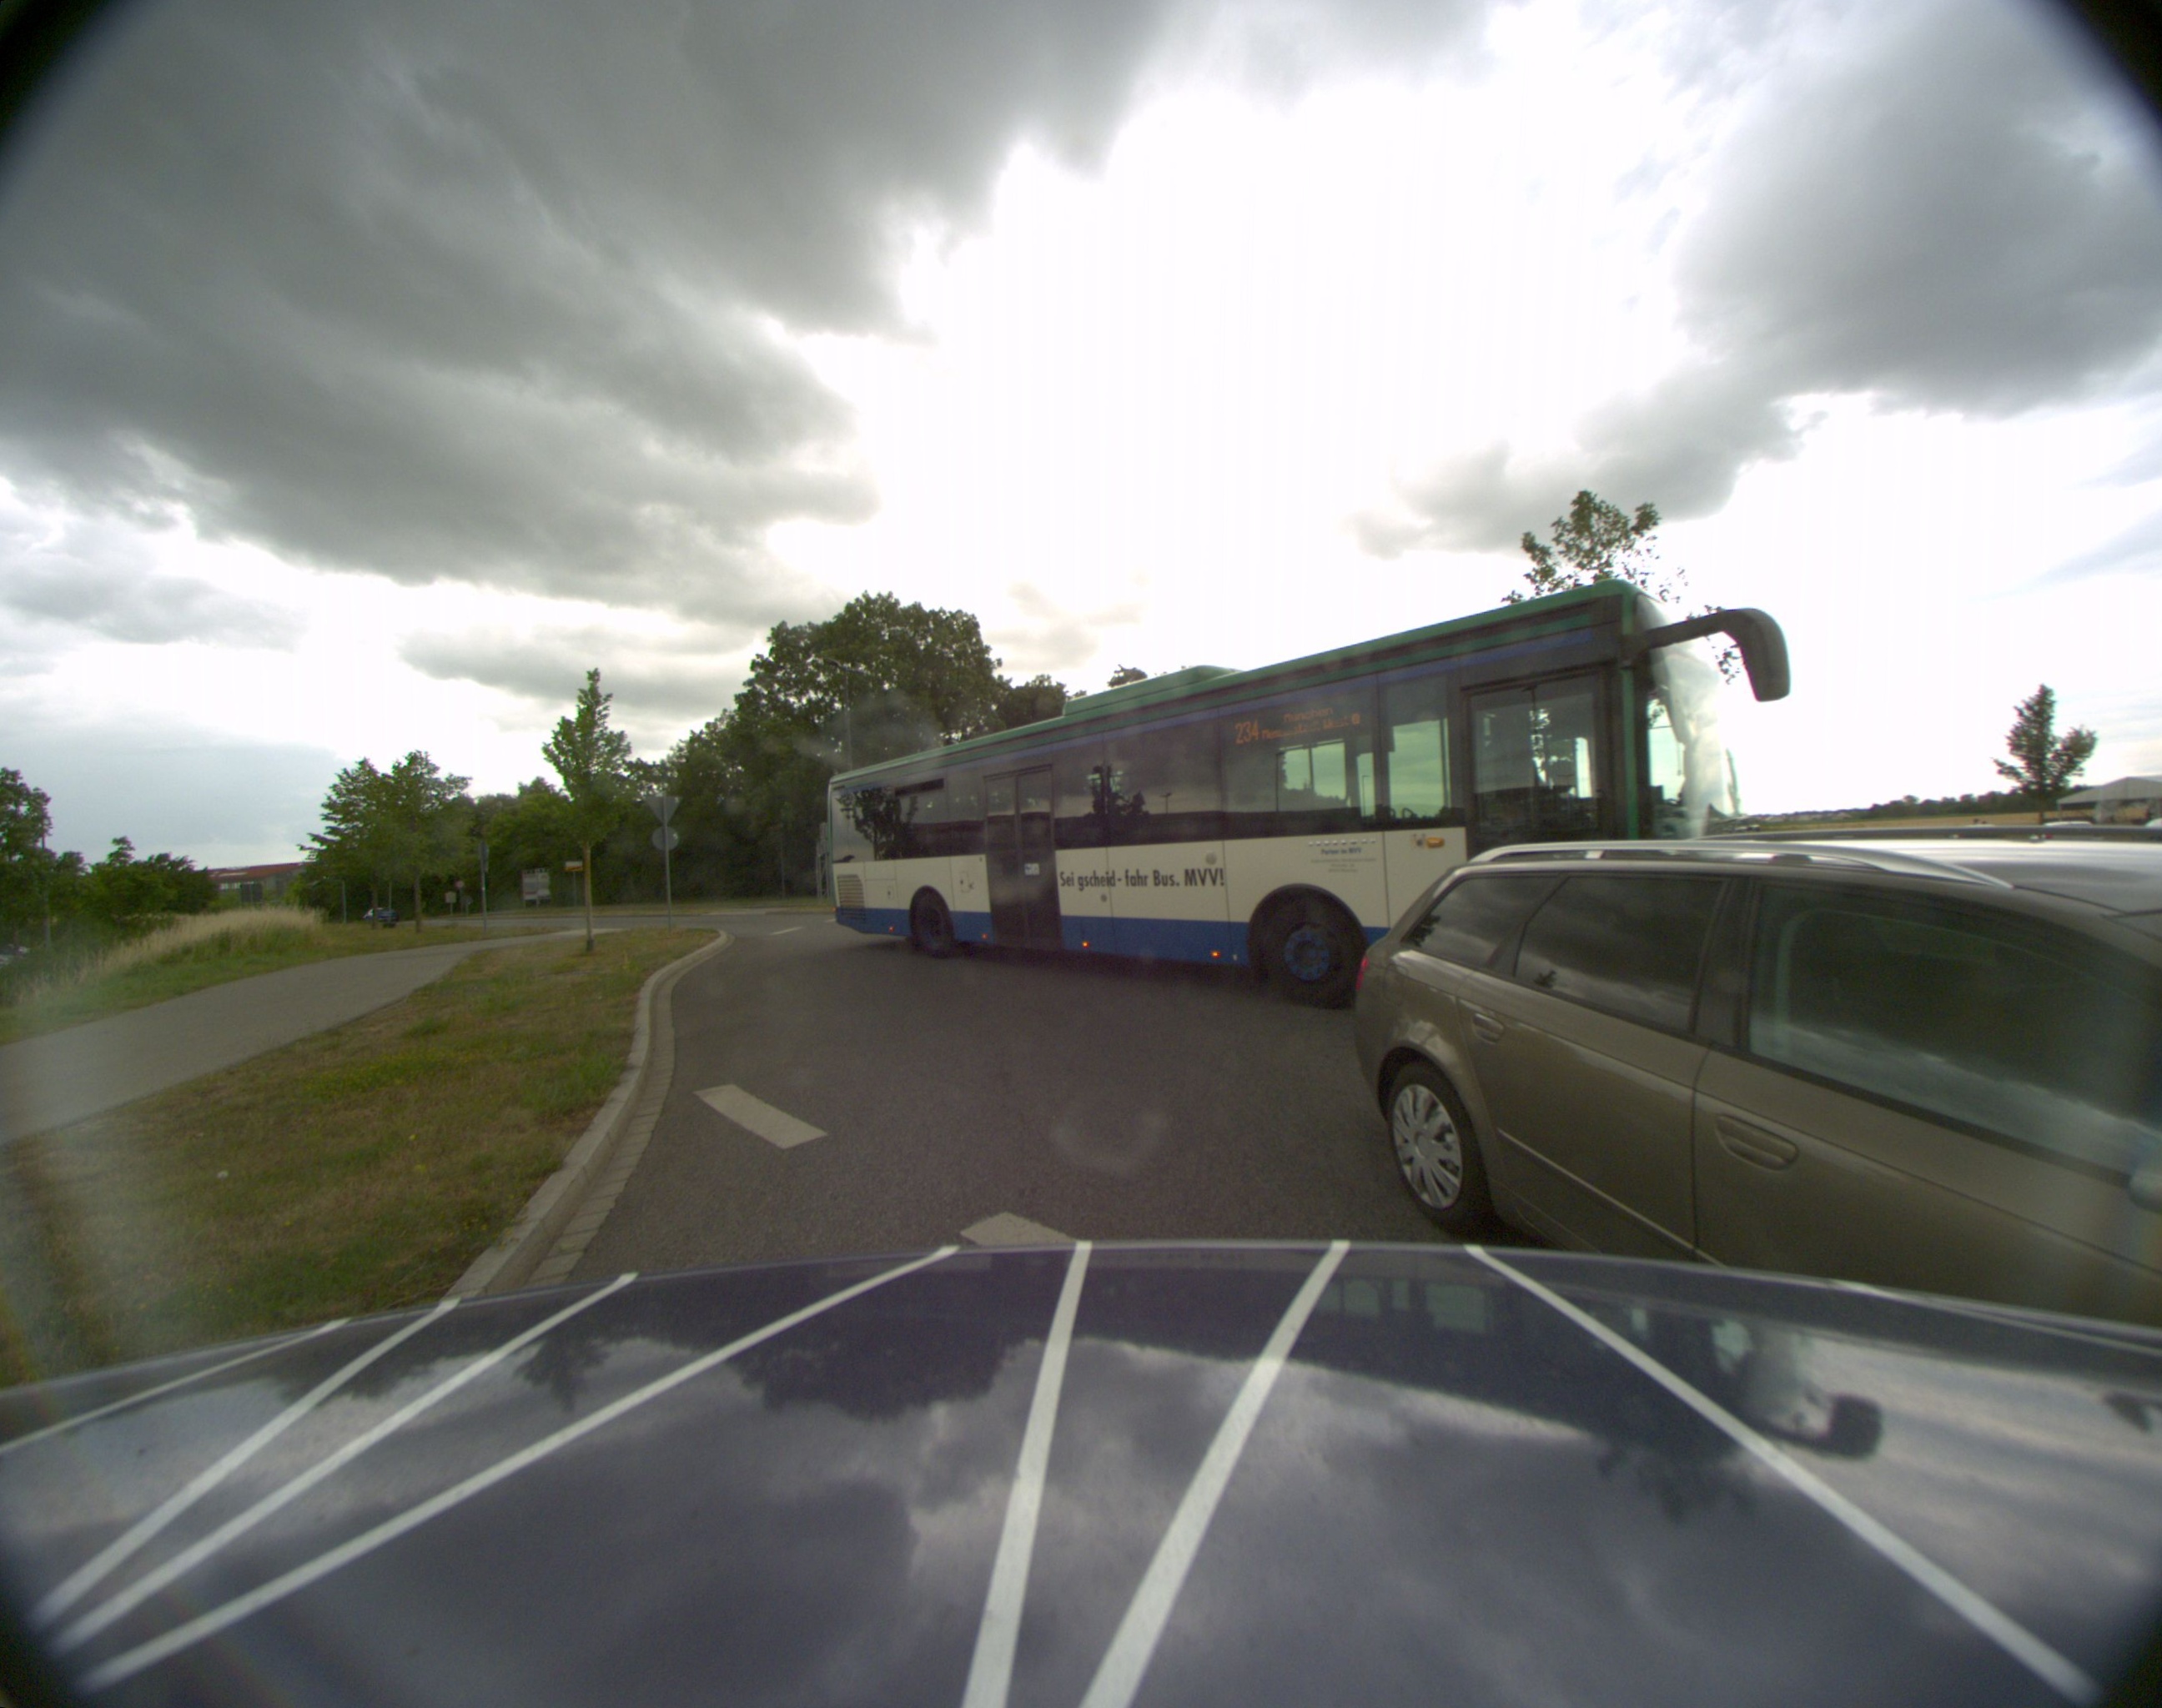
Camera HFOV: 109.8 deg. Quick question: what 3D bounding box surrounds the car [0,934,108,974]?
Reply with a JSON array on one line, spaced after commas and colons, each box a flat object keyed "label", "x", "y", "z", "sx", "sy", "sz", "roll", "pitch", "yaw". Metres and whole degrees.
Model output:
[{"label": "car", "x": -49.367, "y": 4.743, "z": 35.885, "sx": 3.896, "sy": 1.455, "sz": 1.693, "roll": -3, "pitch": 0, "yaw": -42}]

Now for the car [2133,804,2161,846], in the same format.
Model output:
[{"label": "car", "x": 46.911, "y": -1.316, "z": 32.741, "sx": 4.006, "sy": 1.544, "sz": 1.712, "roll": -5, "pitch": 0, "yaw": -36}]

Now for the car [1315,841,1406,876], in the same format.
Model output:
[{"label": "car", "x": 14.504, "y": 0.275, "z": 39.696, "sx": 1.716, "sy": 1.616, "sz": 4.442, "roll": -3, "pitch": 0, "yaw": -27}]

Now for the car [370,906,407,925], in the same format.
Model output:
[{"label": "car", "x": -63.154, "y": 5.629, "z": 69.295, "sx": 4.072, "sy": 1.422, "sz": 1.766, "roll": -6, "pitch": 0, "yaw": 38}]

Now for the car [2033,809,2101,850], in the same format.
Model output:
[{"label": "car", "x": 45.138, "y": -1.132, "z": 34.758, "sx": 4.006, "sy": 1.544, "sz": 1.712, "roll": -5, "pitch": 0, "yaw": -36}]

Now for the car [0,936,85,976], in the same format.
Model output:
[{"label": "car", "x": -46.707, "y": 4.525, "z": 32.976, "sx": 3.896, "sy": 1.455, "sz": 1.693, "roll": -3, "pitch": 0, "yaw": -42}]

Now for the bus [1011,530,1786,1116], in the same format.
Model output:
[{"label": "bus", "x": 2.345, "y": -0.171, "z": 7.477, "sx": 2.530, "sy": 3.239, "sz": 6.530, "roll": -3, "pitch": 2, "yaw": -42}]

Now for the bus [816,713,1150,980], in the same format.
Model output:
[{"label": "bus", "x": -1.805, "y": -0.108, "z": 12.080, "sx": 2.530, "sy": 3.239, "sz": 5.445, "roll": -3, "pitch": 2, "yaw": -42}]

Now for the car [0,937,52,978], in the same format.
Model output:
[{"label": "car", "x": -44.270, "y": 4.262, "z": 30.048, "sx": 3.896, "sy": 1.455, "sz": 1.693, "roll": -3, "pitch": 0, "yaw": -42}]

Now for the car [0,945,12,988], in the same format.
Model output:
[{"label": "car", "x": -39.785, "y": 4.075, "z": 25.673, "sx": 3.896, "sy": 1.455, "sz": 1.693, "roll": -3, "pitch": 0, "yaw": -42}]

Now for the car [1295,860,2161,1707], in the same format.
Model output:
[{"label": "car", "x": 2.255, "y": 0.795, "z": 1.561, "sx": 1.783, "sy": 1.456, "sz": 4.537, "roll": -3, "pitch": 0, "yaw": -8}]

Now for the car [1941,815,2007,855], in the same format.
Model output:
[{"label": "car", "x": 43.253, "y": -0.937, "z": 36.785, "sx": 4.006, "sy": 1.544, "sz": 1.712, "roll": -5, "pitch": 0, "yaw": -36}]

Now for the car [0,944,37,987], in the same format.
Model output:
[{"label": "car", "x": -41.948, "y": 4.297, "z": 27.905, "sx": 3.896, "sy": 1.455, "sz": 1.693, "roll": -3, "pitch": 0, "yaw": -42}]

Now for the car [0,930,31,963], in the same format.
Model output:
[{"label": "car", "x": -53.259, "y": 4.579, "z": 35.965, "sx": 1.879, "sy": 1.435, "sz": 4.007, "roll": -3, "pitch": 0, "yaw": 34}]
